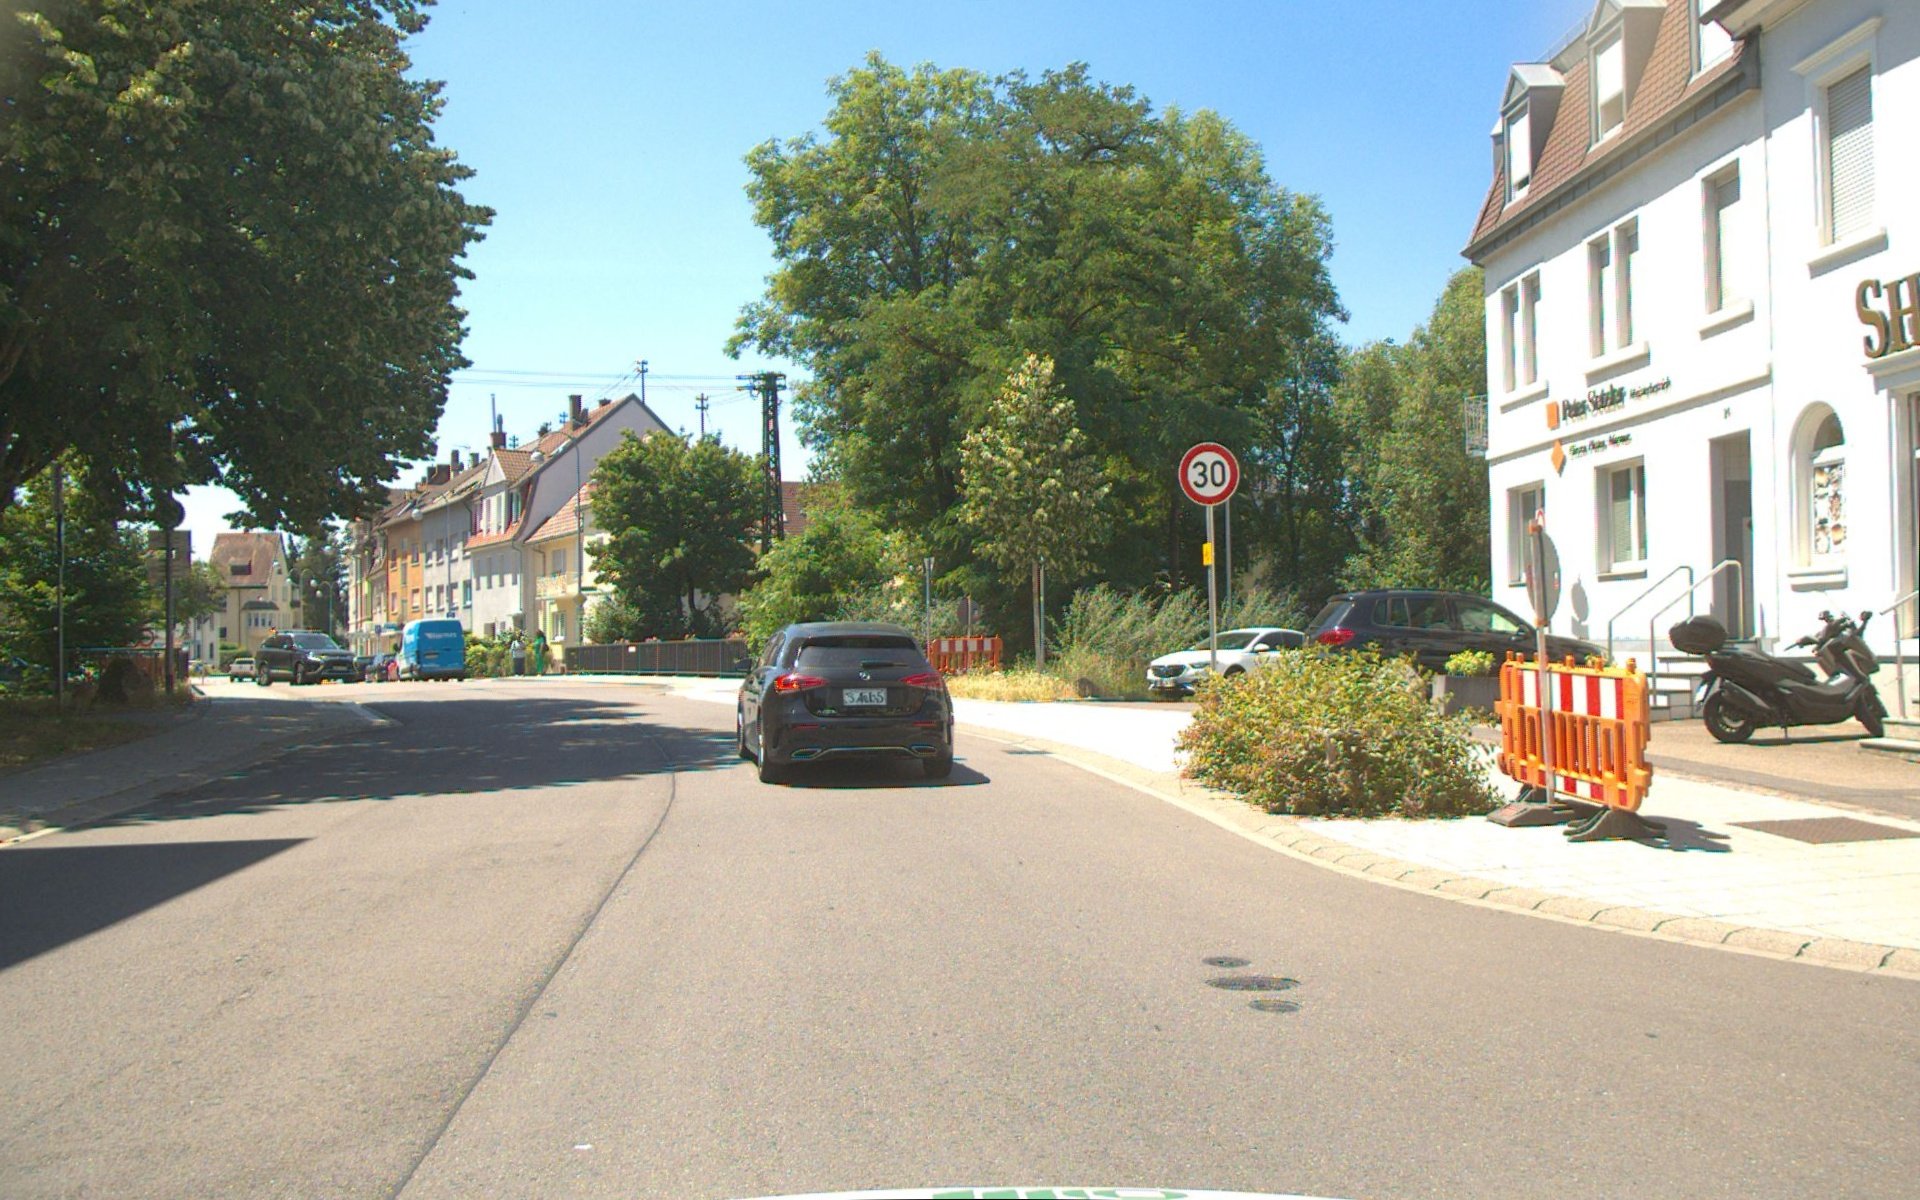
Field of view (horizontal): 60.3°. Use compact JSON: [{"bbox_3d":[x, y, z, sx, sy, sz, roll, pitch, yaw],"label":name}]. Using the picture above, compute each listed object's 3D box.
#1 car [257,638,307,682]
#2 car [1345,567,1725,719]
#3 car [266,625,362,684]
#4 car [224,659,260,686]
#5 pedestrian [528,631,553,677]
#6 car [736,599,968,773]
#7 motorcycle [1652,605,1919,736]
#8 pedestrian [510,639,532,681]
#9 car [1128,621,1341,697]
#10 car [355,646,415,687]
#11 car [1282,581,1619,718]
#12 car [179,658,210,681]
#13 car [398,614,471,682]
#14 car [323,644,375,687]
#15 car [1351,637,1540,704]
[{"bbox_3d":[-38.423,3.377,93.727,2.218,2.385,4.809,1,-1,-27],"label":"car"},{"bbox_3d":[6.949,0.533,20.258,3.994,1.746,1.854,1,-2,-4],"label":"car"},{"bbox_3d":[-21.316,1.790,54.472,1.729,1.803,4.276,-2,-1,-39],"label":"car"},{"bbox_3d":[-57.582,5.768,132.607,1.976,2.049,3.953,0,-1,-34],"label":"car"},{"bbox_3d":[-16.132,2.080,63.641,0.658,1.772,0.690,1,-3,-45],"label":"pedestrian"},{"bbox_3d":[-1.193,0.862,16.292,1.795,1.467,3.989,-1,-4,-11],"label":"car"},{"bbox_3d":[8.411,0.709,16.913,2.329,1.298,0.855,0,-1,-3],"label":"motorcycle"},{"bbox_3d":[-17.045,2.333,64.225,0.608,1.641,0.828,0,-2,-32],"label":"pedestrian"},{"bbox_3d":[5.395,1.149,32.286,4.161,1.374,1.834,2,-1,-39],"label":"car"},{"bbox_3d":[-26.475,3.044,76.085,1.971,1.776,4.289,0,-1,-28],"label":"car"},{"bbox_3d":[6.571,0.674,22.424,3.994,1.746,1.854,1,-2,-4],"label":"car"},{"bbox_3d":[-57.472,5.216,124.130,1.970,1.689,3.964,2,-3,-27],"label":"car"},{"bbox_3d":[-21.153,1.938,66.441,2.107,2.586,4.608,0,-2,-27],"label":"car"},{"bbox_3d":[-30.917,3.271,83.642,1.971,2.049,3.963,0,-1,-28],"label":"car"},{"bbox_3d":[10.707,1.566,36.381,4.155,1.374,1.837,2,-4,-36],"label":"car"}]
